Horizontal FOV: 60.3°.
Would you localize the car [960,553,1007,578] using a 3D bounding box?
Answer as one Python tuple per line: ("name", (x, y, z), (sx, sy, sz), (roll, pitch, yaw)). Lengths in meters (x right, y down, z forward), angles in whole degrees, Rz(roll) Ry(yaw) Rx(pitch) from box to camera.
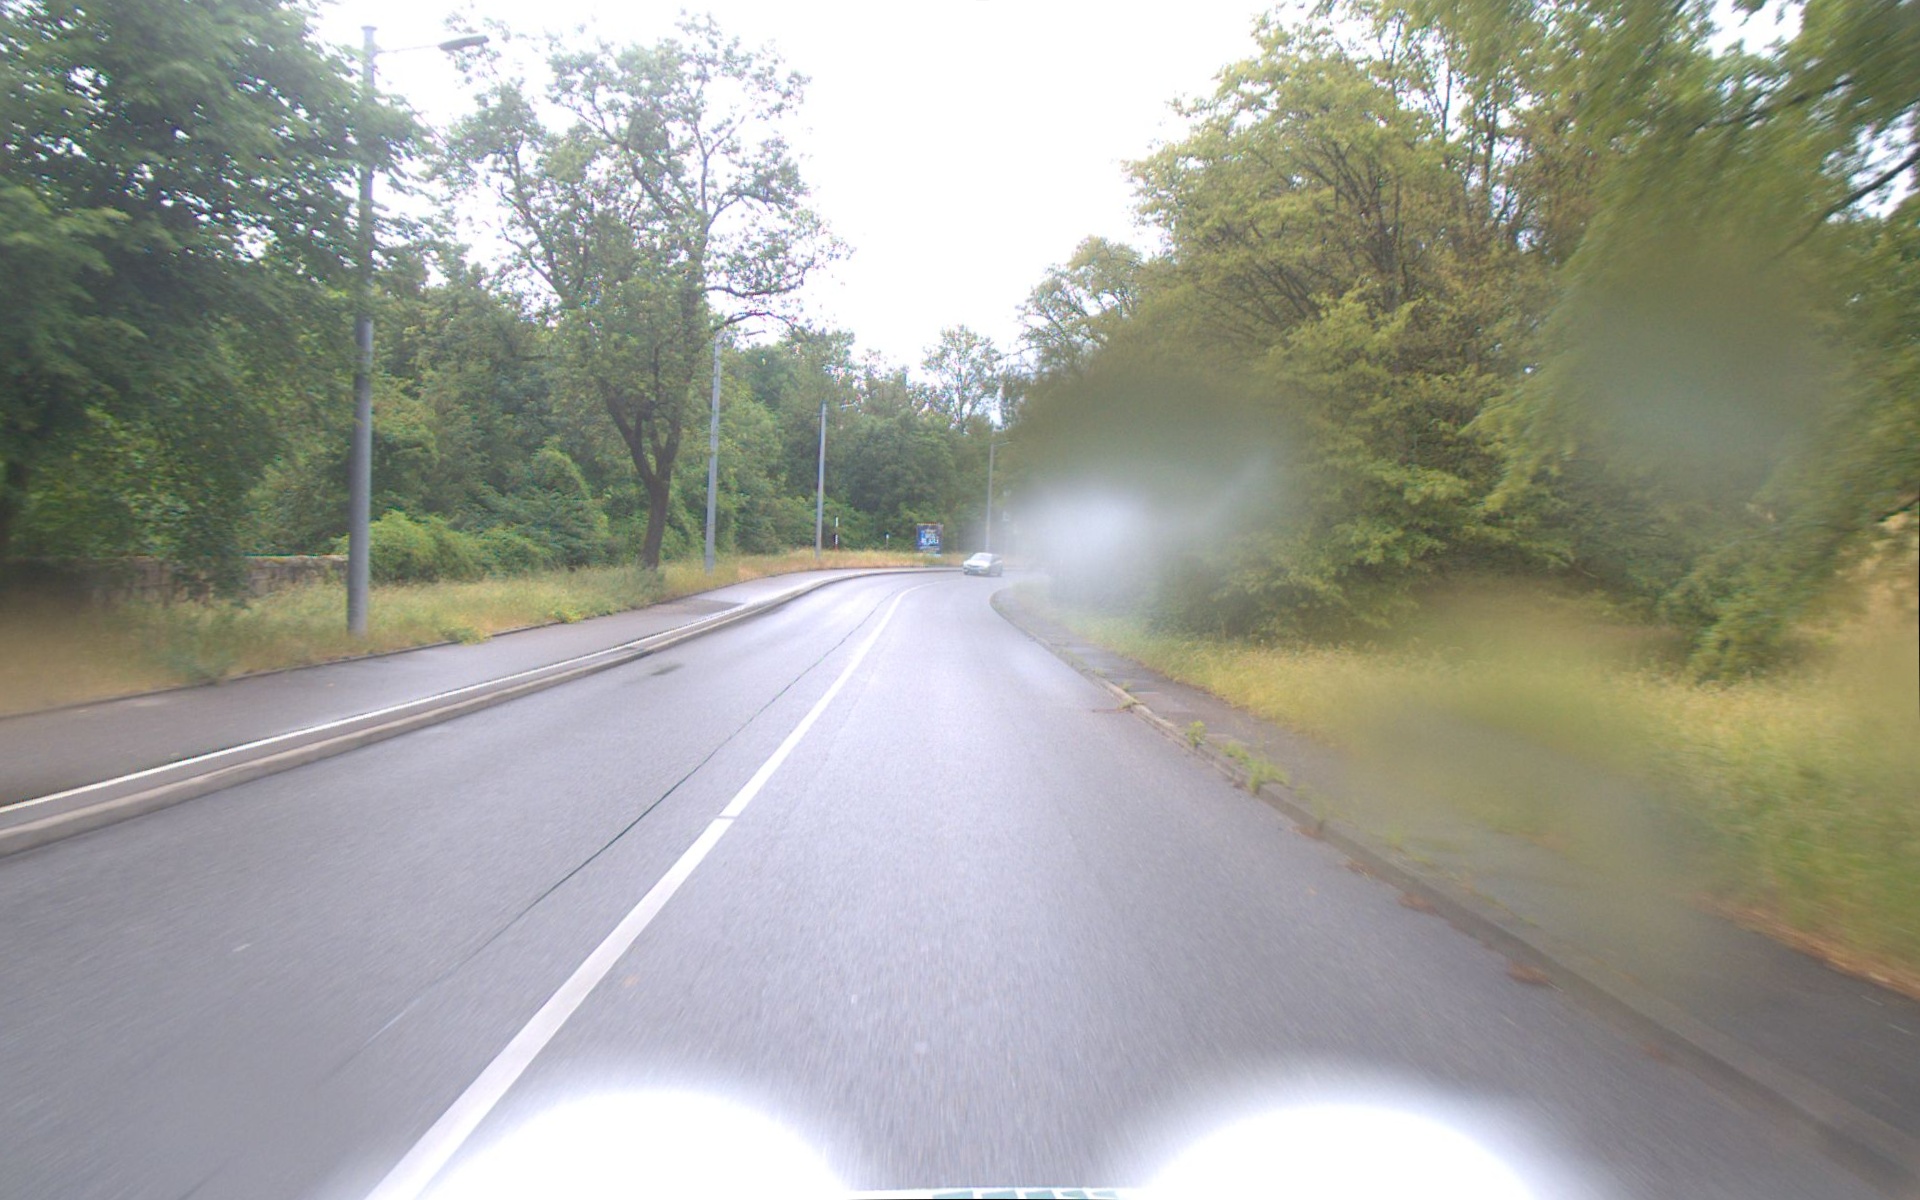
("car", (1.606, -2.309, 111.273), (1.744, 1.454, 4.477), (6, 3, 18))
